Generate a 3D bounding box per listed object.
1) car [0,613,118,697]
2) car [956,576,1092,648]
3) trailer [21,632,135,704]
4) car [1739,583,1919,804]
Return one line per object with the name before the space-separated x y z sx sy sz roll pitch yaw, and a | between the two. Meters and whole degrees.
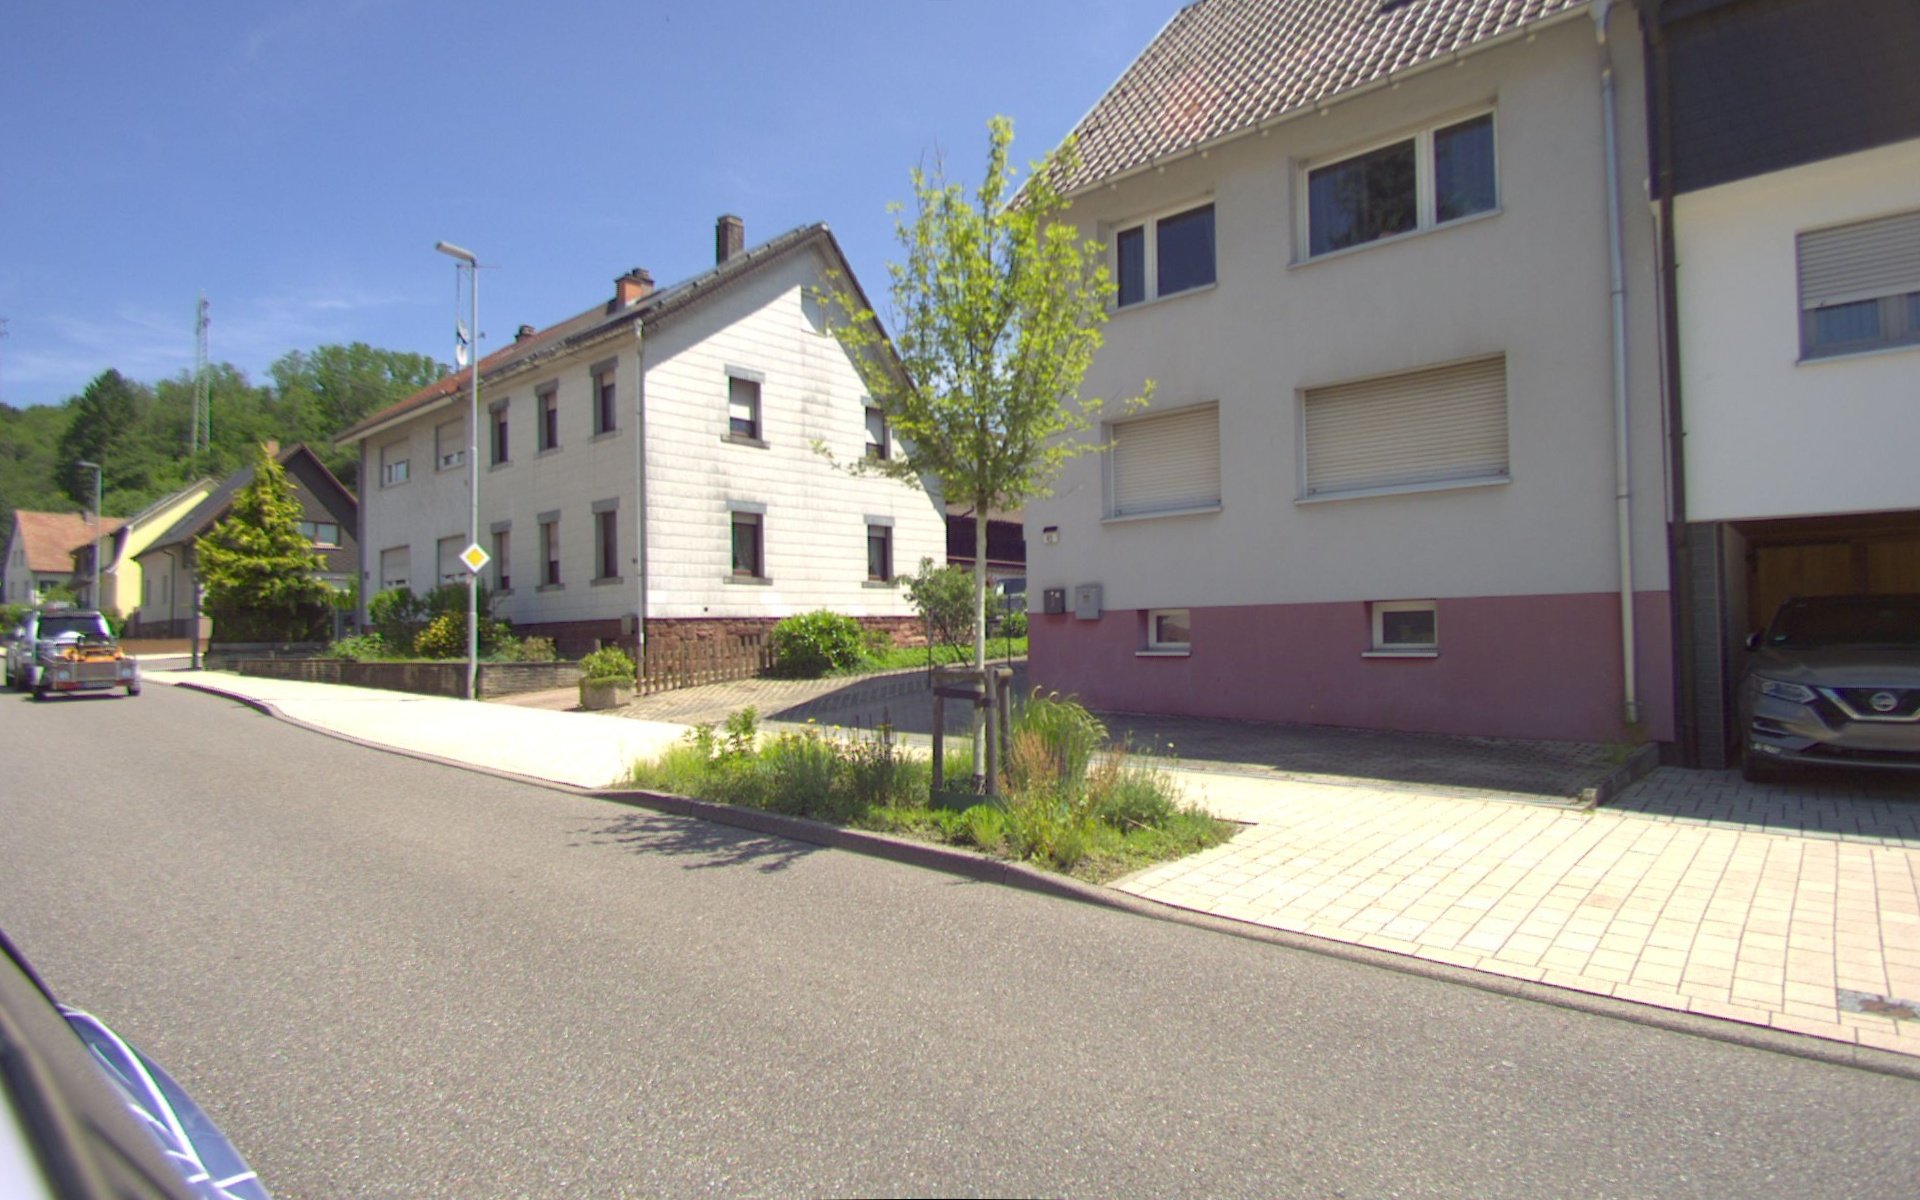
car | -22.252 1.293 24.871 4.579 1.875 1.868 -2 -2 44
car | 1.884 0.403 28.434 1.994 1.847 4.281 -1 -3 32
trailer | -19.288 1.412 22.057 4.405 1.406 1.557 -2 -2 45
car | 7.987 0.668 8.666 1.831 1.557 3.945 -2 -1 41
